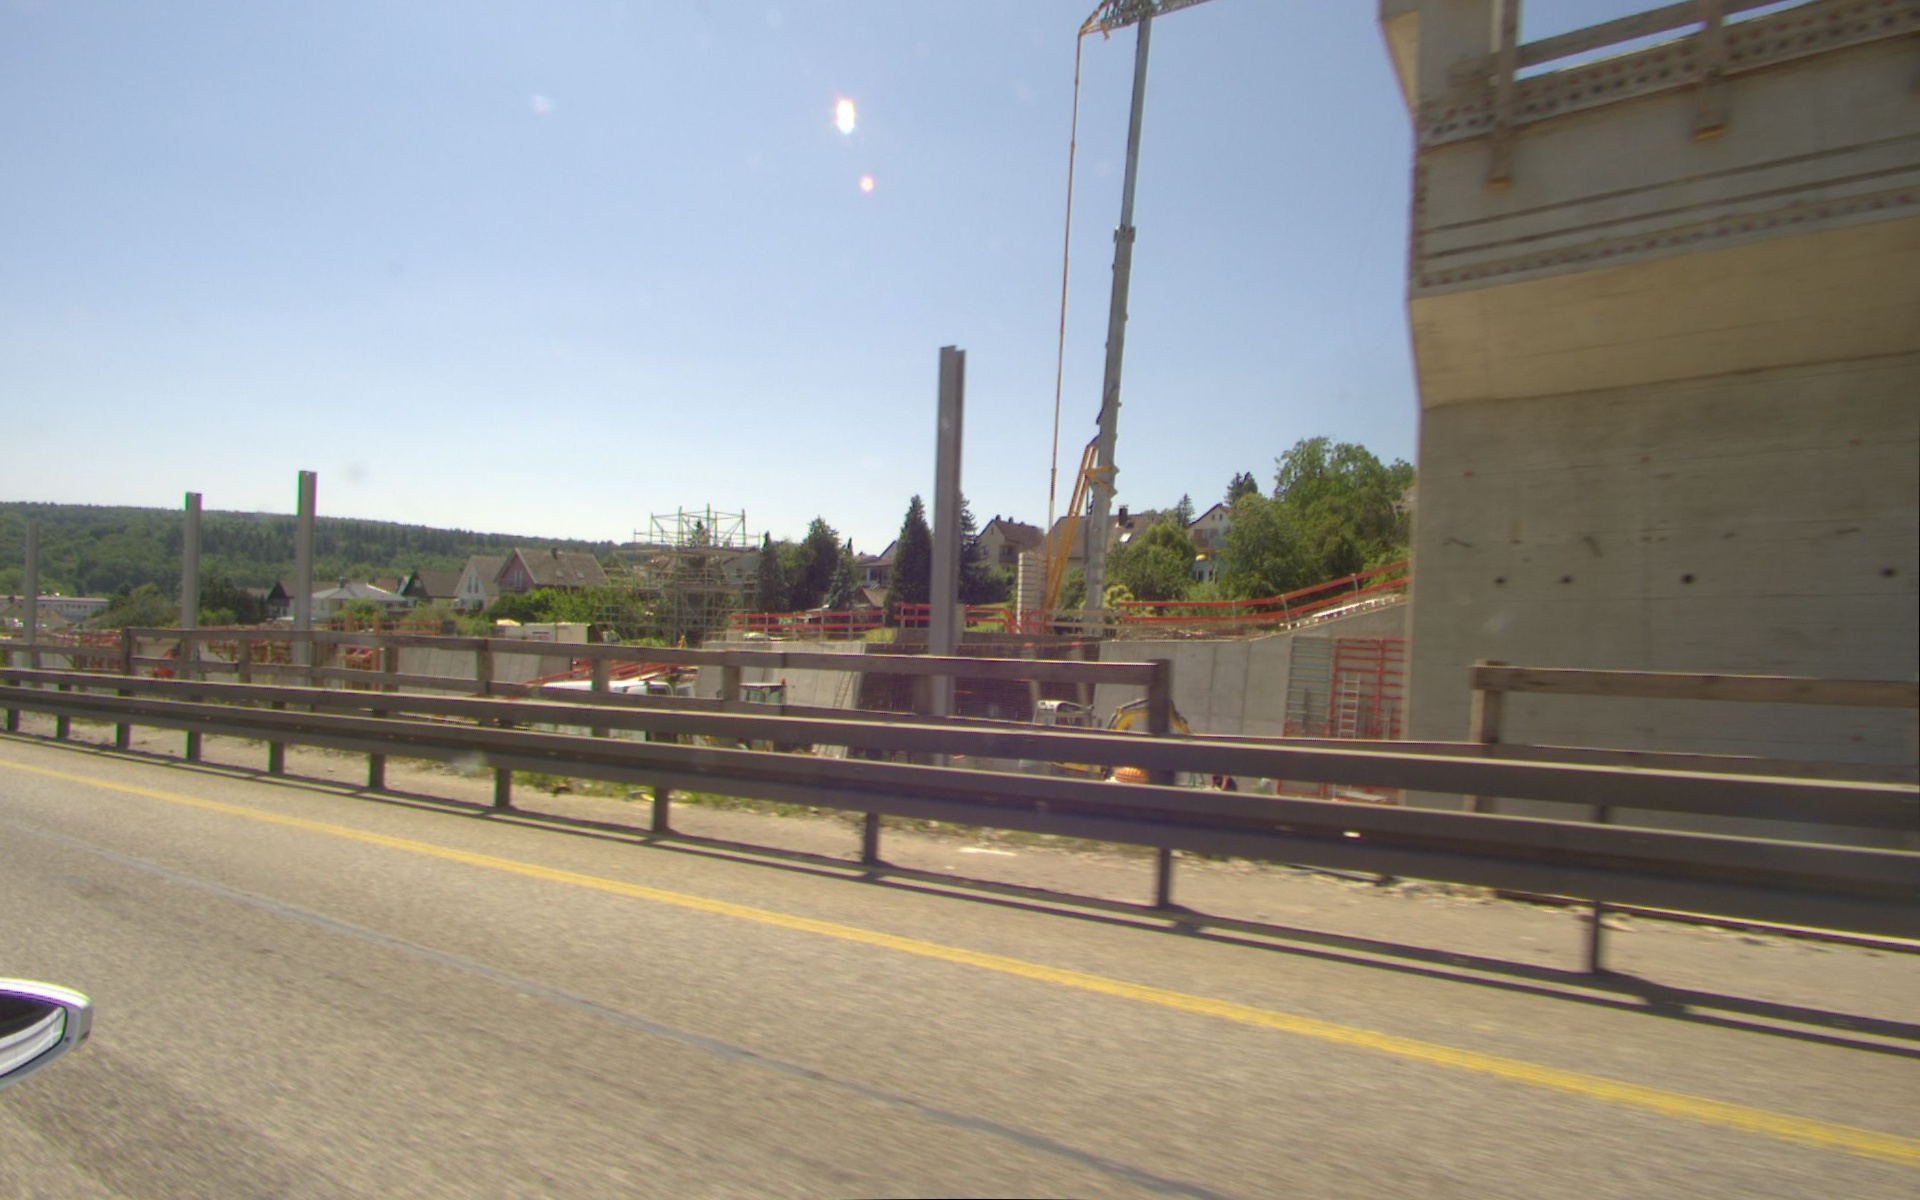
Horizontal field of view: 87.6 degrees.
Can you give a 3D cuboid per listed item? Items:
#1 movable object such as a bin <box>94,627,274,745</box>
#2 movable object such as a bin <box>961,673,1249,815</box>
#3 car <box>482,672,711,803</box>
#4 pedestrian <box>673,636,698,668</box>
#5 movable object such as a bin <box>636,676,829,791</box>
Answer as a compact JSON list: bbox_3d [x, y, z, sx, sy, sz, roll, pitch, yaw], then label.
[{"bbox_3d":[-34.642,3.674,44.569,9.518,4.803,3.222,-2,-2,32],"label":"movable object such as a bin"},{"bbox_3d":[4.015,3.886,26.858,7.081,2.931,3.475,12,-9,-35],"label":"movable object such as a bin"},{"bbox_3d":[-9.671,3.418,26.255,6.931,2.892,2.139,-2,-2,36],"label":"car"},{"bbox_3d":[-17.417,3.279,63.536,0.960,2.013,1.134,-2,-2,35],"label":"pedestrian"},{"bbox_3d":[-6.304,3.497,27.408,5.430,2.710,2.138,-2,-2,36],"label":"movable object such as a bin"}]
